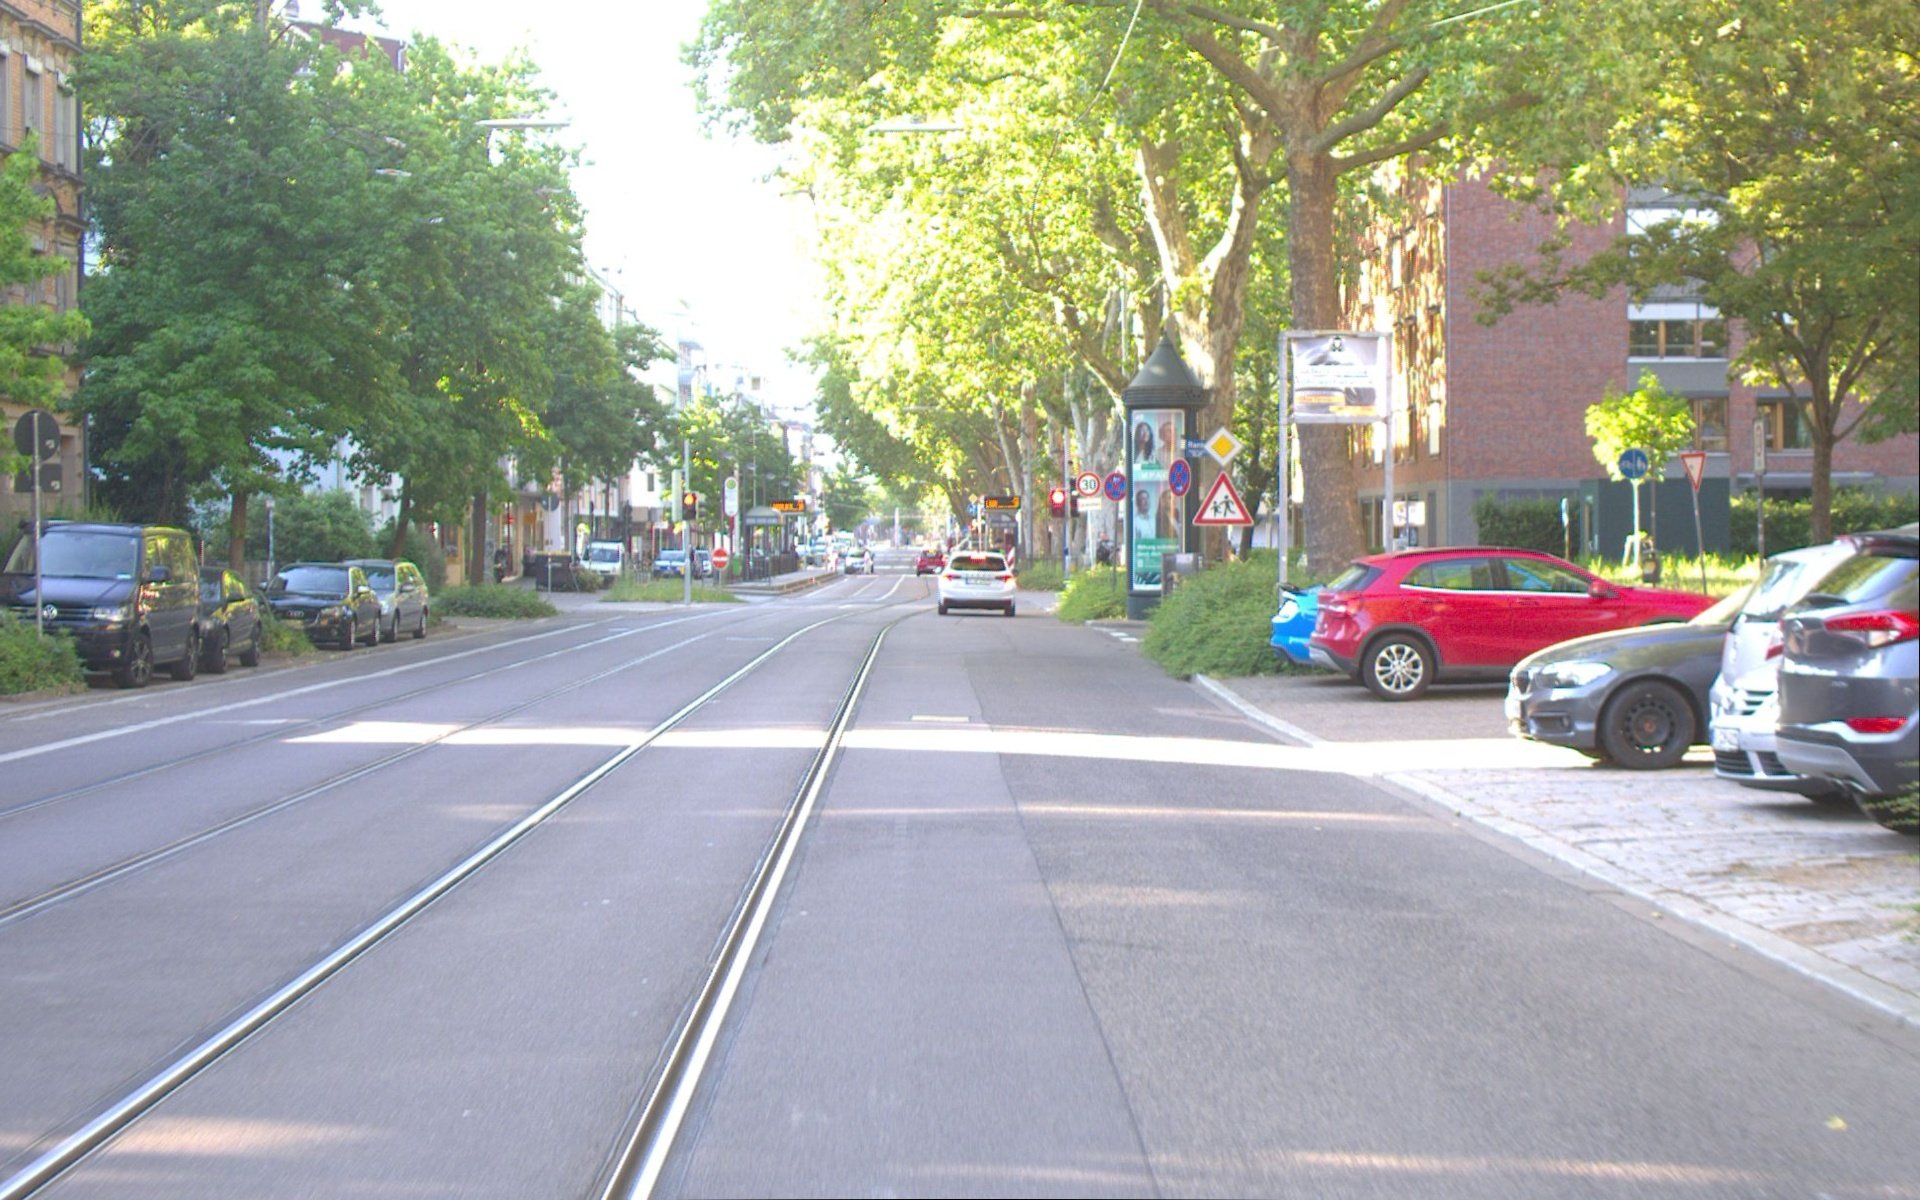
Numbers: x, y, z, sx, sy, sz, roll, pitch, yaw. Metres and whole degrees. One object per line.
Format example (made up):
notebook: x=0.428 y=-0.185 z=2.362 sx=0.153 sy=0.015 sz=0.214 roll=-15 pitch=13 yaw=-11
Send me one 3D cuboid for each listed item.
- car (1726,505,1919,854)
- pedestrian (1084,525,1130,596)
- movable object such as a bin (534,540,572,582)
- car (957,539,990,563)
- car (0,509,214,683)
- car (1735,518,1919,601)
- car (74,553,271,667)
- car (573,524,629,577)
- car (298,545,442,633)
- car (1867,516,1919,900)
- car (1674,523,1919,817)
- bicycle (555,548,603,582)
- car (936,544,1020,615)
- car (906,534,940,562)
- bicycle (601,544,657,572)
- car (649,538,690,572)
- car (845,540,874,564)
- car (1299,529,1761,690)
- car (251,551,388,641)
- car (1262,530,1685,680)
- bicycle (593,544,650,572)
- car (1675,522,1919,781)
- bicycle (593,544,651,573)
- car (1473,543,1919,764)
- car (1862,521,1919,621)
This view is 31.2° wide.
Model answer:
car: x=6.121 y=0.325 z=16.964 sx=4.199 sy=1.613 sz=1.879 roll=-1 pitch=1 yaw=-3
pedestrian: x=3.988 y=-1.072 z=93.132 sx=0.982 sy=1.857 sz=1.016 roll=-4 pitch=1 yaw=-6
movable object such as a bin: x=-13.621 y=-1.317 z=115.198 sx=1.169 sy=1.344 sz=0.783 roll=3 pitch=1 yaw=-5
car: x=0.847 y=-3.075 z=214.766 sx=1.993 sy=1.448 sz=4.000 roll=-1 pitch=1 yaw=-1
car: x=-10.717 y=-0.091 z=42.603 sx=1.993 sy=2.007 sz=4.835 roll=-1 pitch=1 yaw=-2
car: x=16.233 y=-0.757 z=63.160 sx=3.537 sy=1.447 sz=1.684 roll=-1 pitch=1 yaw=-2
car: x=-10.880 y=0.103 z=47.776 sx=1.853 sy=1.453 sz=4.271 roll=-1 pitch=1 yaw=-2
car: x=-13.402 y=-1.863 z=128.466 sx=1.688 sy=1.933 sz=4.000 roll=-1 pitch=1 yaw=-1
car: x=-10.858 y=-0.234 z=63.549 sx=1.700 sy=1.545 sz=4.536 roll=0 pitch=1 yaw=2
car: x=6.122 y=0.431 z=14.349 sx=4.200 sy=1.613 sz=1.817 roll=-1 pitch=1 yaw=2
car: x=6.300 y=0.344 z=19.365 sx=4.200 sy=1.568 sz=1.817 roll=-1 pitch=1 yaw=2
bicycle: x=-12.998 y=-1.185 z=117.276 sx=1.533 sy=1.071 sz=0.885 roll=2 pitch=1 yaw=-1
car: x=0.387 y=-0.485 z=77.265 sx=1.788 sy=1.508 sz=4.000 roll=-1 pitch=1 yaw=-1
car: x=-2.023 y=-2.840 z=187.212 sx=1.788 sy=1.508 sz=4.000 roll=-1 pitch=1 yaw=-1
bicycle: x=-13.800 y=-1.744 z=143.338 sx=2.253 sy=1.070 sz=0.636 roll=3 pitch=1 yaw=1
car: x=-13.573 y=-2.119 z=160.755 sx=1.593 sy=1.543 sz=4.000 roll=2 pitch=1 yaw=-1
car: x=-6.180 y=-2.957 z=212.124 sx=1.693 sy=1.414 sz=4.000 roll=-1 pitch=1 yaw=-1
car: x=5.729 y=0.077 z=34.958 sx=4.403 sy=1.537 sz=1.952 roll=-1 pitch=1 yaw=2
car: x=-10.794 y=-0.093 z=58.113 sx=1.658 sy=1.440 sz=3.950 roll=0 pitch=1 yaw=-1
car: x=5.517 y=0.042 z=37.242 sx=4.404 sy=1.537 sz=1.817 roll=-1 pitch=1 yaw=7
bicycle: x=-13.922 y=-1.728 z=141.507 sx=2.253 sy=1.070 sz=0.636 roll=3 pitch=1 yaw=1
car: x=6.782 y=0.279 z=21.661 sx=4.200 sy=1.550 sz=1.817 roll=-1 pitch=1 yaw=2
bicycle: x=-13.746 y=-1.701 z=139.761 sx=2.253 sy=1.070 sz=0.636 roll=3 pitch=1 yaw=1
car: x=5.852 y=0.339 z=24.134 sx=4.199 sy=1.443 sz=1.818 roll=-1 pitch=1 yaw=-1
car: x=16.123 y=-0.473 z=54.925 sx=1.789 sy=1.569 sz=4.579 roll=-1 pitch=1 yaw=-6
